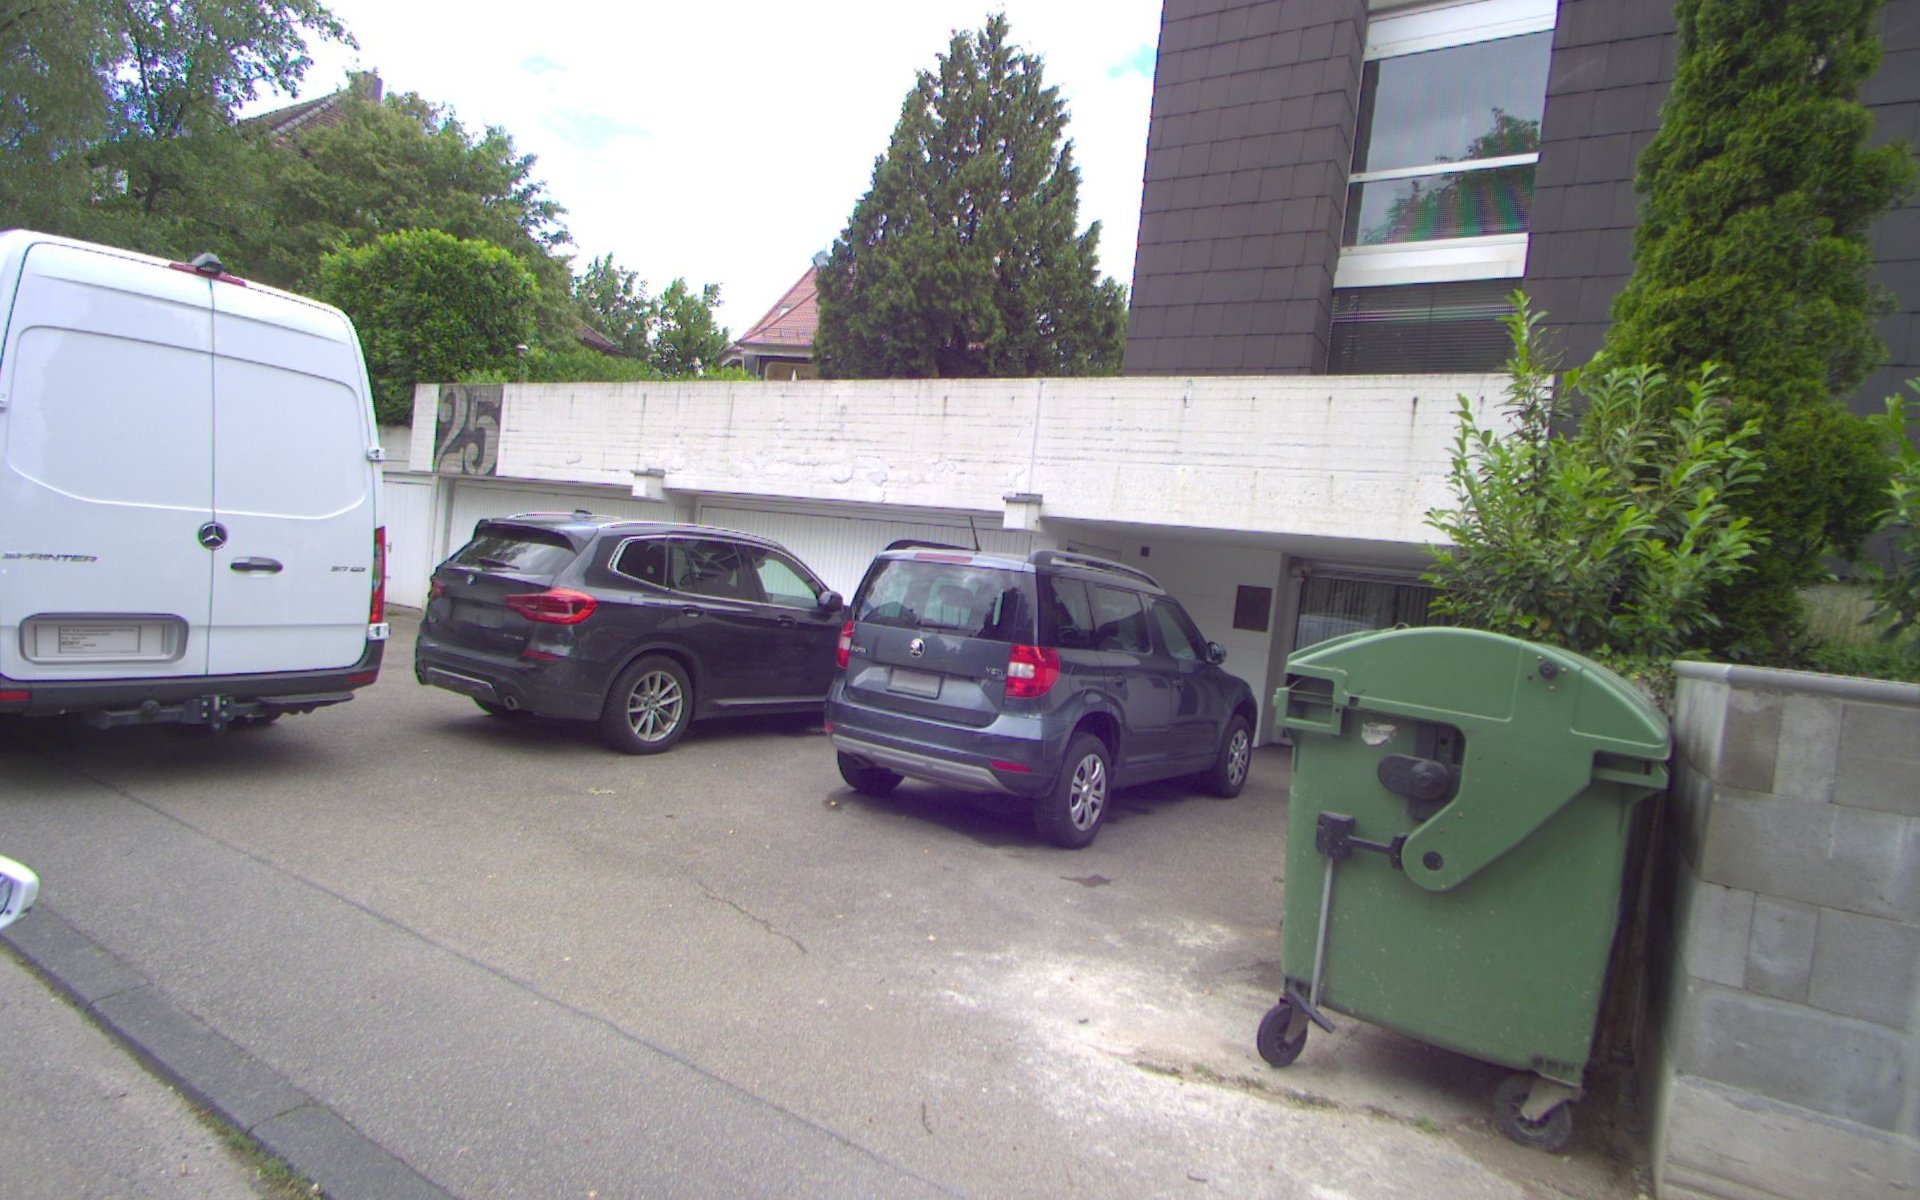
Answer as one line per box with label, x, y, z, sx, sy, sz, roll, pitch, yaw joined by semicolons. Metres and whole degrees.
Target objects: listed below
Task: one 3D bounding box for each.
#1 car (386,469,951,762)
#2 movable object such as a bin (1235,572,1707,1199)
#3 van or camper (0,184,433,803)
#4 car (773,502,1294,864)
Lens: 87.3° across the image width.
car;-2.088;0.167;8.510;1.710;1.772;4.419;7;1;33
movable object such as a bin;1.627;0.764;3.223;1.016;1.550;1.034;7;1;33
van or camper;-6.431;-0.695;6.734;6.432;2.653;1.995;7;1;32
car;0.808;0.495;7.229;1.804;1.772;3.973;7;1;35
